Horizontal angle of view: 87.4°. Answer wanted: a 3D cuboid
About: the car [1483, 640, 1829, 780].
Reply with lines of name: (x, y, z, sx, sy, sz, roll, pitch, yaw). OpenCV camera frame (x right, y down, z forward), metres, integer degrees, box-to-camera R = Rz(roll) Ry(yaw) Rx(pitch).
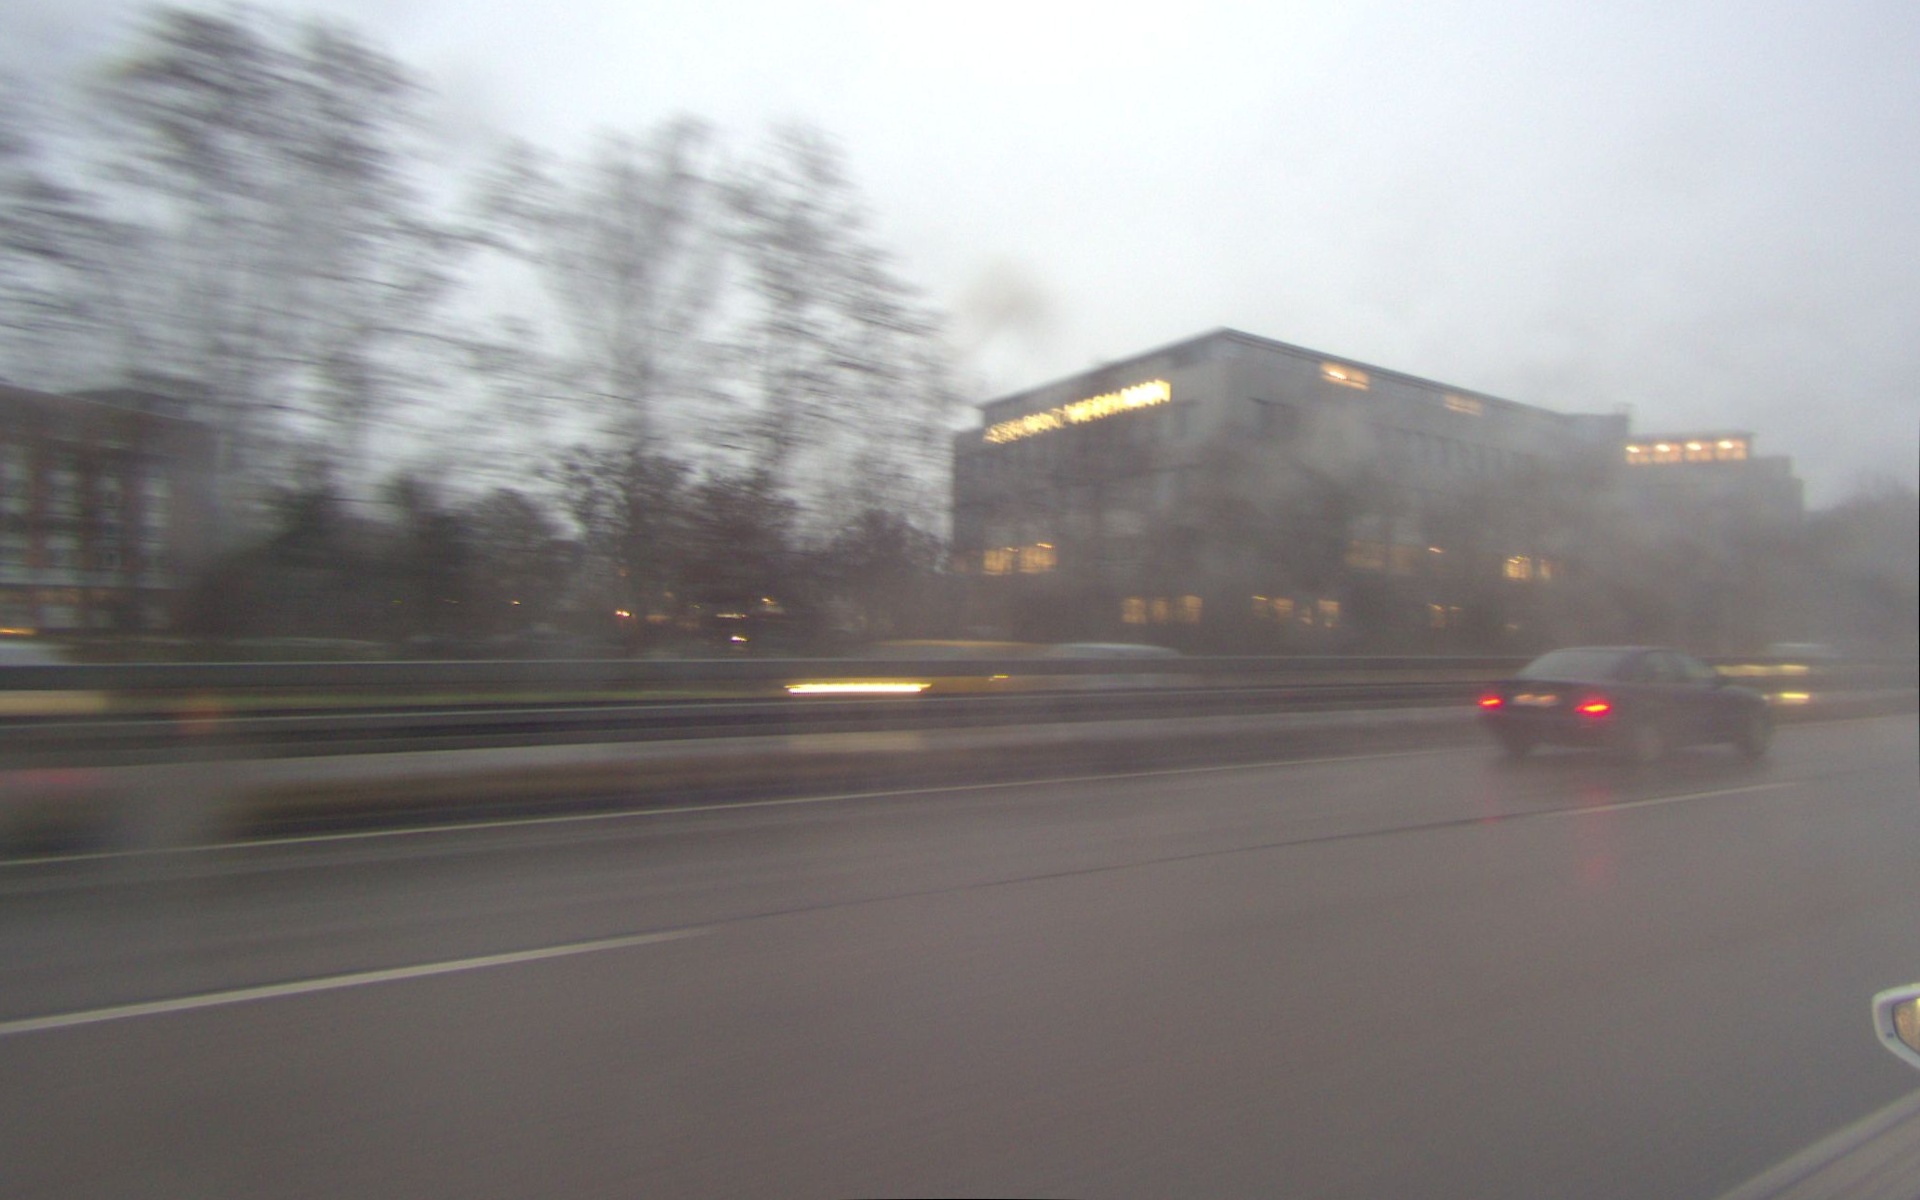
car: (9.095, 1.378, 13.060, 4.644, 1.554, 1.769, 3, -4, -28)

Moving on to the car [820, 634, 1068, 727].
car: (-0.251, 1.414, 18.352, 4.309, 1.462, 1.538, 2, 1, -29)

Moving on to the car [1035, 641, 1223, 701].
car: (4.239, 1.732, 24.928, 4.630, 1.288, 1.538, 2, 0, -29)

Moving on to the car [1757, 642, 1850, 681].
car: (36.055, 2.619, 42.913, 4.486, 1.532, 1.538, 2, -1, -29)

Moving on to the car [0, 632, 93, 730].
car: (-15.486, 1.157, 14.514, 4.206, 1.339, 1.538, 2, 1, -29)
